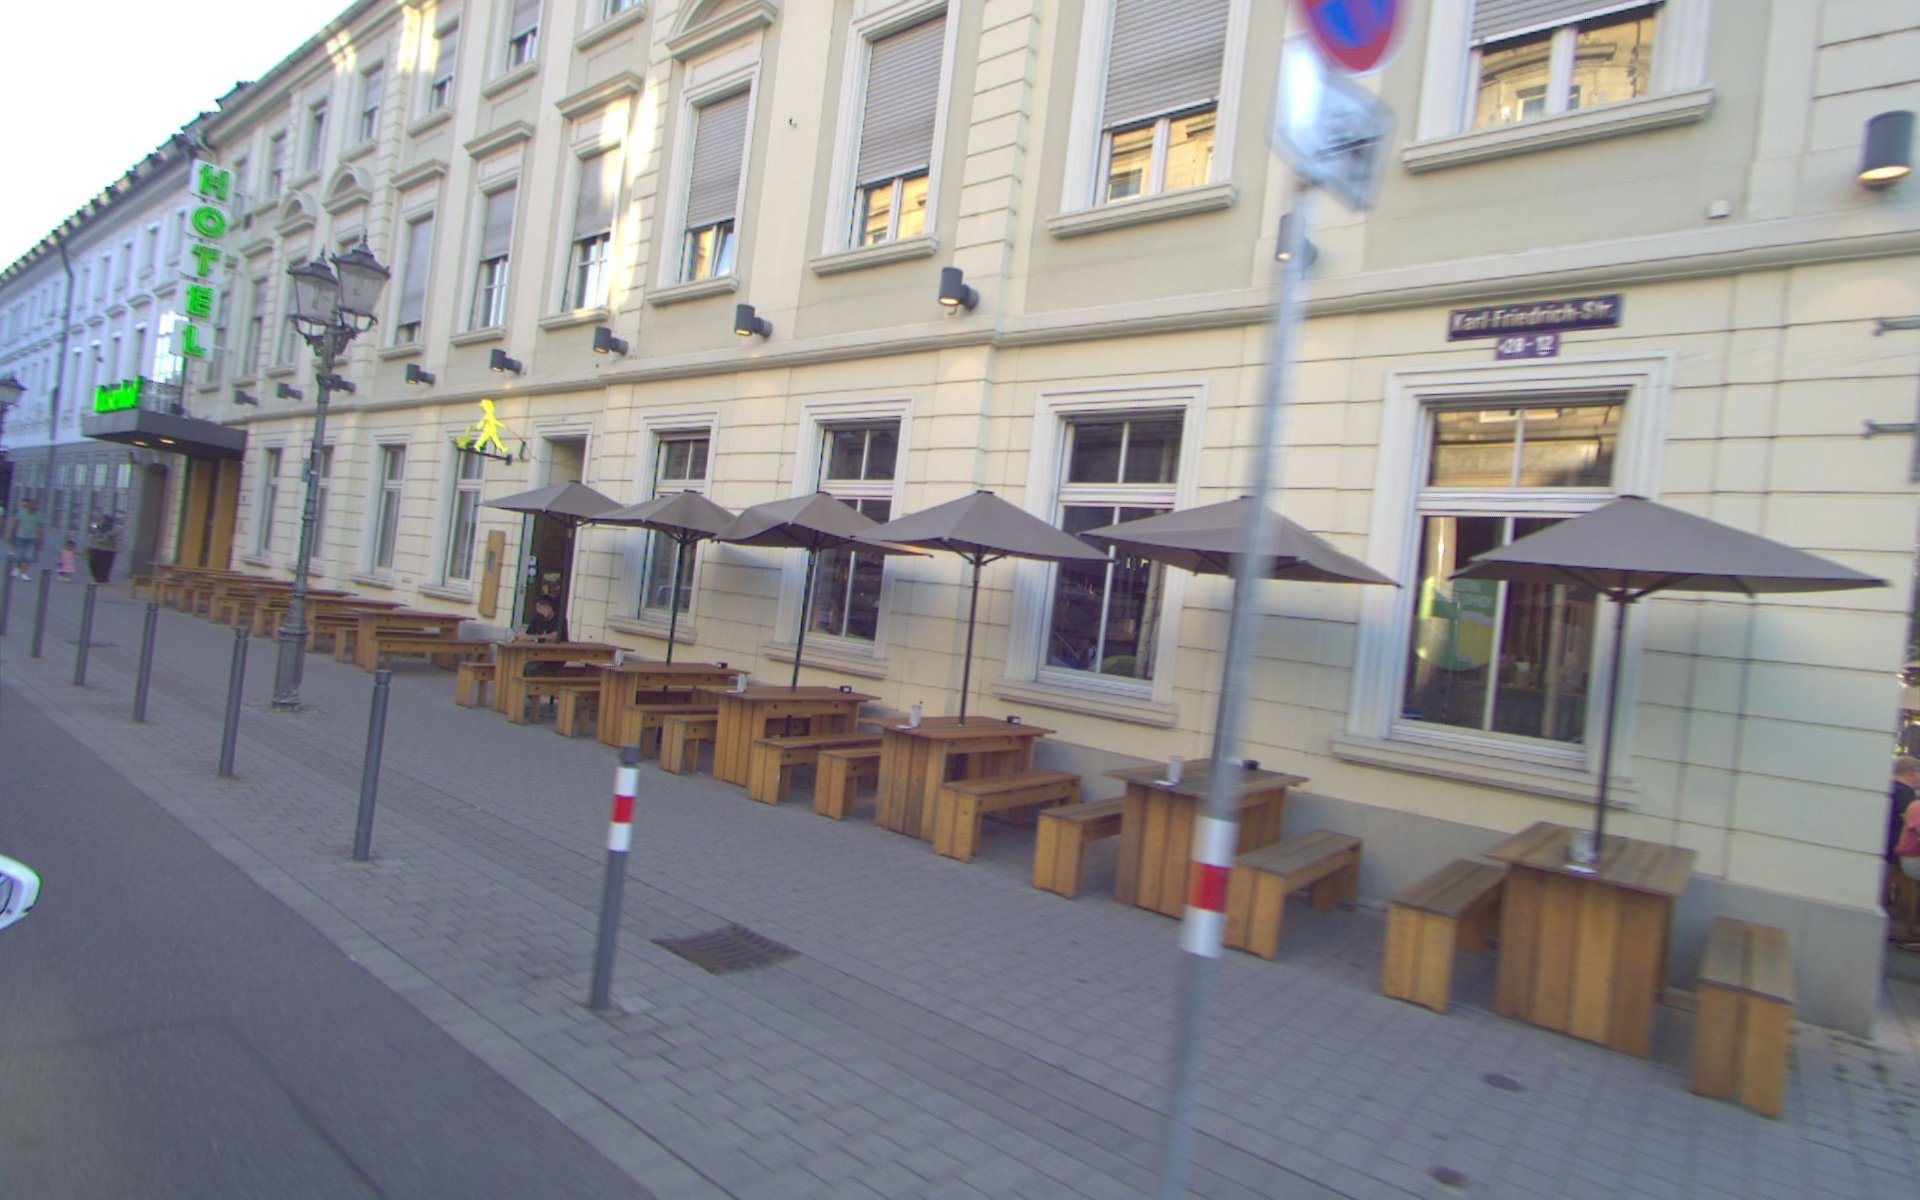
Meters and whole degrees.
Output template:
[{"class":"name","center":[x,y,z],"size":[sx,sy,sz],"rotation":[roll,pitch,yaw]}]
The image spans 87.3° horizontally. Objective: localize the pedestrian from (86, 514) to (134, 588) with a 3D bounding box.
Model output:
[{"class":"pedestrian","center":[-19.747,-1.127,23.384],"size":[0.606,1.620,0.629],"rotation":[6,-1,41]}]

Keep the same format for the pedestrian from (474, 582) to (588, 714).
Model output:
[{"class":"pedestrian","center":[-4.869,0.551,11.452],"size":[0.711,1.376,0.777],"rotation":[7,-1,23]}]

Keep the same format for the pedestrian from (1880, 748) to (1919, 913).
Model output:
[{"class":"pedestrian","center":[9.038,2.151,9.273],"size":[0.611,1.466,0.498],"rotation":[6,-1,32]}]

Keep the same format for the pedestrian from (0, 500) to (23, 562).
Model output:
[{"class":"pedestrian","center":[-28.258,-2.069,29.630],"size":[0.869,1.750,0.746],"rotation":[6,-1,43]}]

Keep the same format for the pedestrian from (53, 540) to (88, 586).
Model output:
[{"class":"pedestrian","center":[-20.437,-0.847,23.121],"size":[0.550,0.991,0.459],"rotation":[6,-1,41]}]

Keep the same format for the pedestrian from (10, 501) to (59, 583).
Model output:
[{"class":"pedestrian","center":[-20.785,-1.293,22.588],"size":[0.550,1.750,0.606],"rotation":[6,0,41]}]

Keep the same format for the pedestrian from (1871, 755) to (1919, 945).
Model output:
[{"class":"pedestrian","center":[7.506,1.940,7.759],"size":[0.571,1.385,0.525],"rotation":[6,-1,40]}]

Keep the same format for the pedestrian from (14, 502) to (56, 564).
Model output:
[{"class":"pedestrian","center":[-27.918,-2.018,30.358],"size":[0.861,1.750,0.712],"rotation":[6,-1,42]}]
